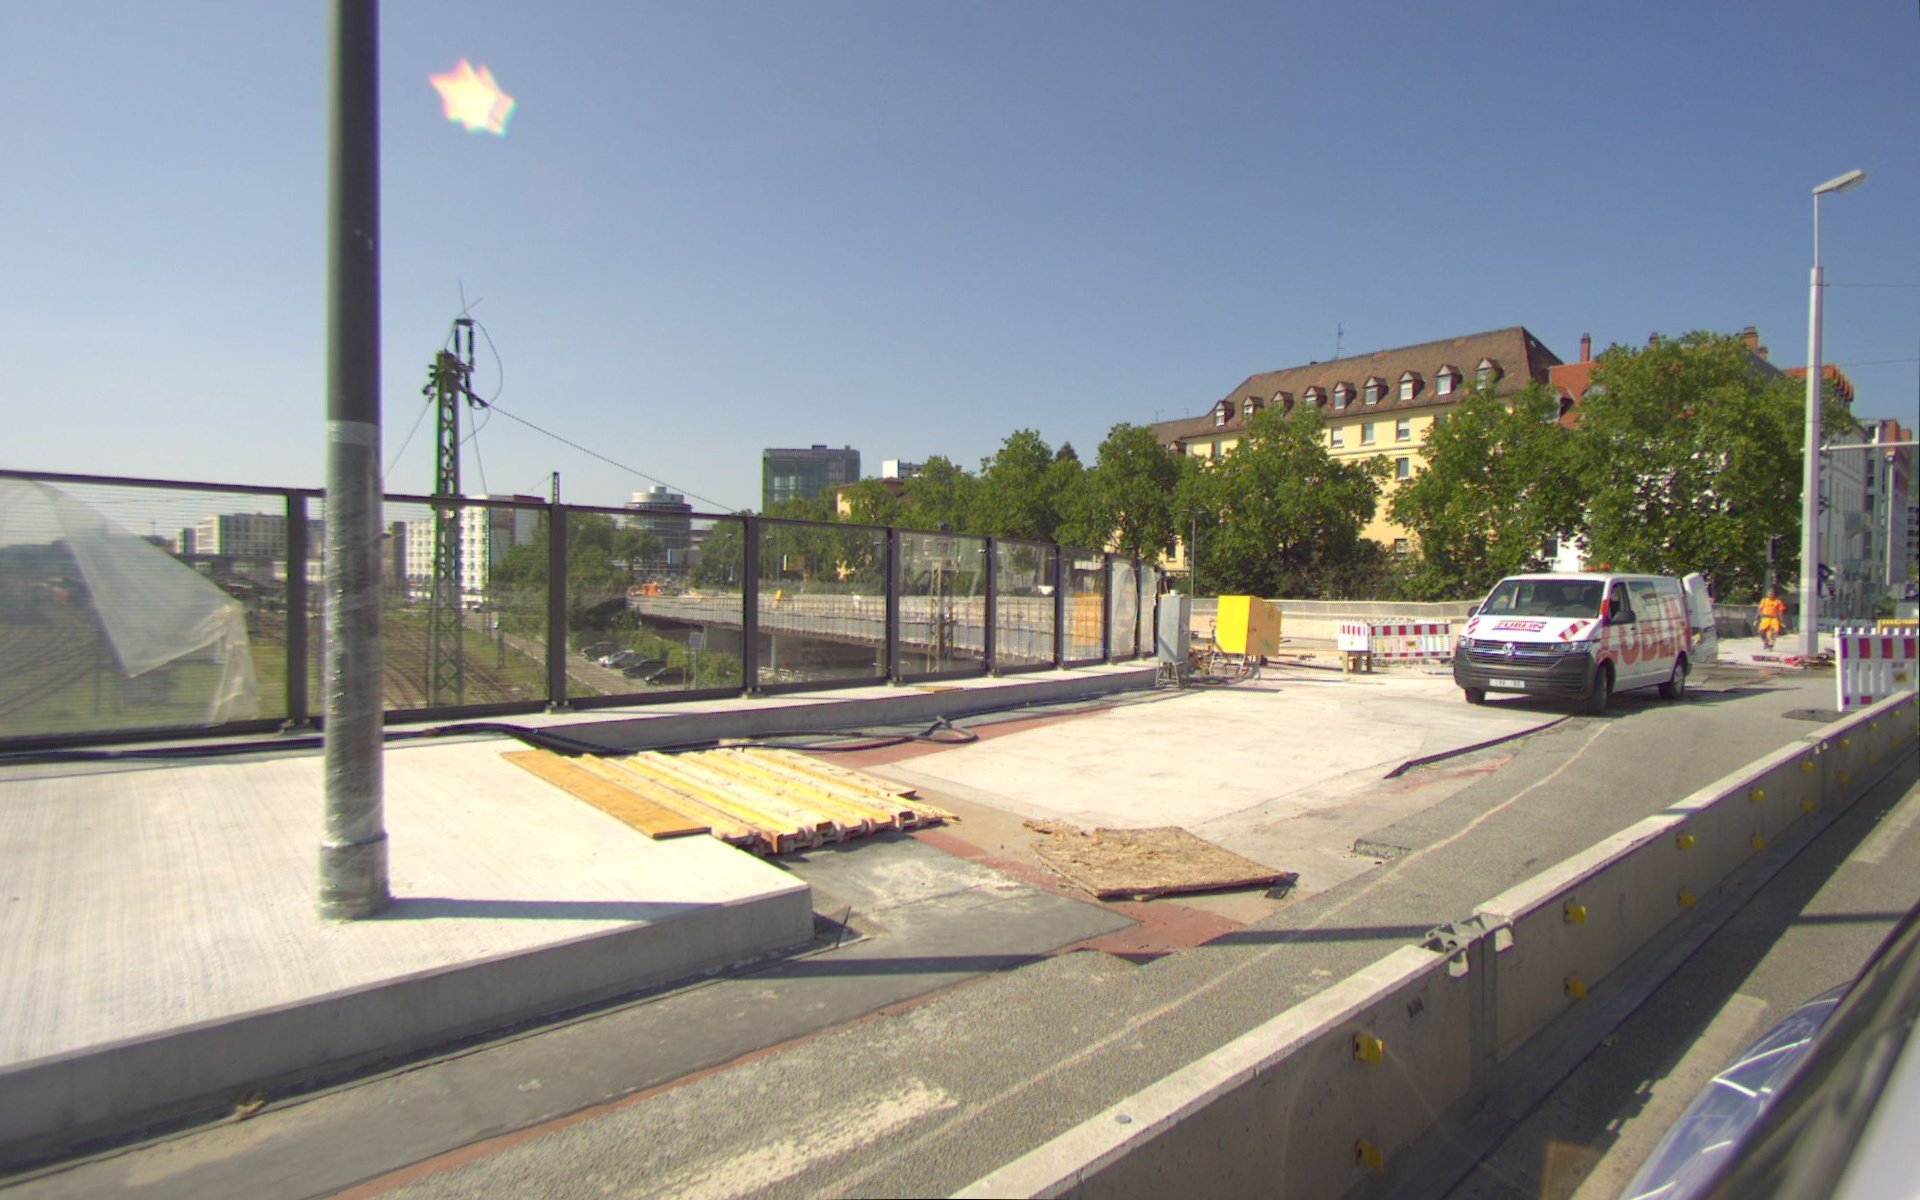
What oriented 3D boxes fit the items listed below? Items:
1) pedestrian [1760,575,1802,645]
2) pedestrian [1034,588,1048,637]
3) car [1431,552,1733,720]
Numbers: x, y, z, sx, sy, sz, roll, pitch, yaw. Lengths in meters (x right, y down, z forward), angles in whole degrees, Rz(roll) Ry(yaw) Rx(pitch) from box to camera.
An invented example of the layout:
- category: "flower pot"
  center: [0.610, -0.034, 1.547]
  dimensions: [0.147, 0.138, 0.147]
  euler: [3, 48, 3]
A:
- category: "pedestrian"
  center: [24.237, 0.287, 29.865]
  dimensions: [0.828, 2.009, 0.761]
  euler: [-1, 3, -41]
- category: "pedestrian"
  center: [3.408, 0.513, 42.652]
  dimensions: [0.491, 2.039, 0.428]
  euler: [0, 0, -14]
- category: "car"
  center: [9.723, 0.371, 15.528]
  dimensions: [6.354, 2.116, 1.938]
  euler: [-1, 2, -39]
